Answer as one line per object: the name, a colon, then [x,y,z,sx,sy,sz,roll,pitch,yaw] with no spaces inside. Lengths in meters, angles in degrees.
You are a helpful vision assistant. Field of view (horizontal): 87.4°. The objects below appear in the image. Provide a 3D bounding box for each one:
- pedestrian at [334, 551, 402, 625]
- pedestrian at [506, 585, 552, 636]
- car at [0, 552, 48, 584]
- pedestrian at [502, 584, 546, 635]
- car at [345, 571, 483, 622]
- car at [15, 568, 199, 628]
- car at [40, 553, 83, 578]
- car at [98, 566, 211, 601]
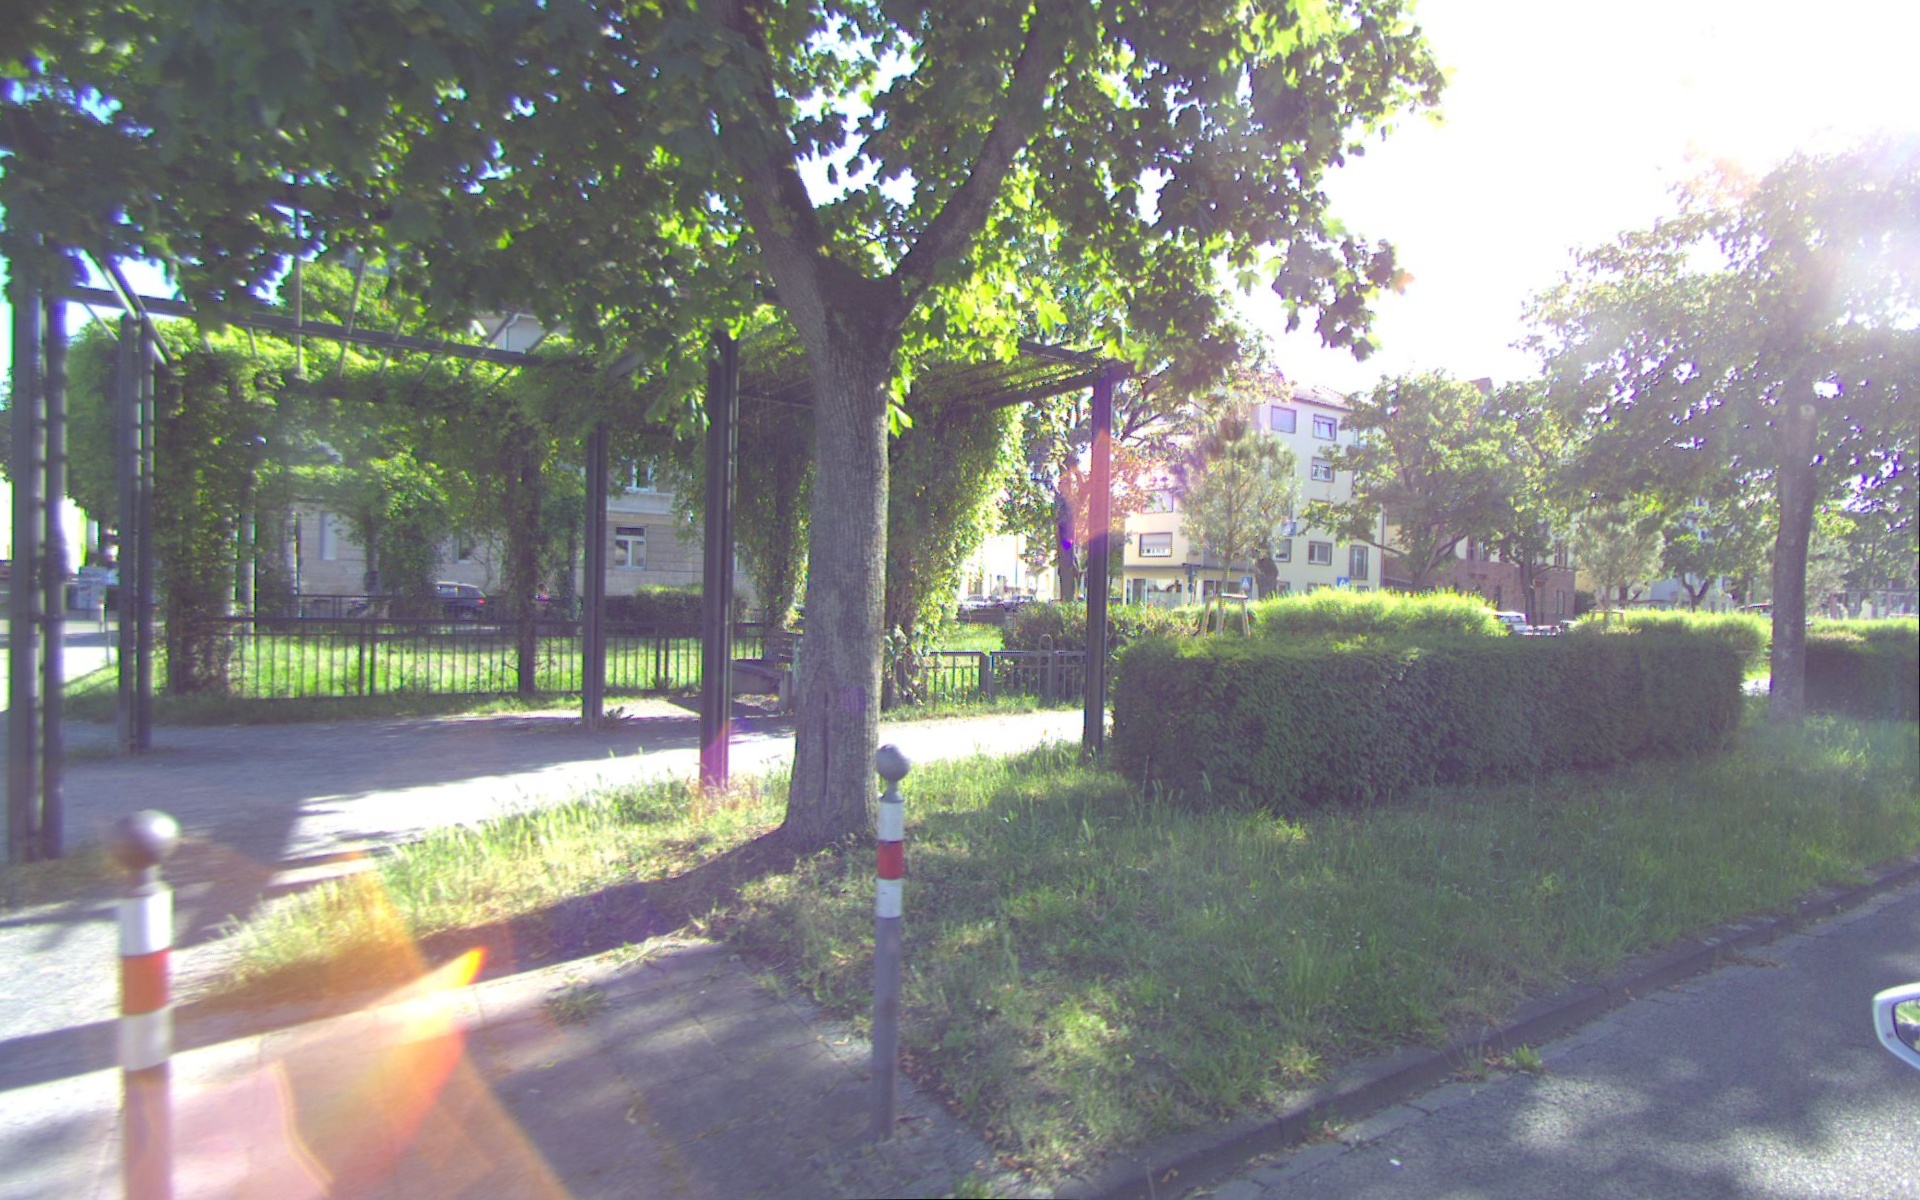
pedestrian: [-14.127,-0.307,23.979,0.899,1.697,1.086,2,4,37]
pedestrian: [-9.954,0.244,23.185,0.866,1.154,0.593,2,0,-33]
car: [-61.995,-2.093,66.301,1.867,1.896,4.360,5,-1,-33]
pedestrian: [-10.308,0.231,23.760,0.837,1.165,0.593,2,0,-33]
car: [-18.503,-0.099,34.095,3.869,1.503,1.848,2,4,-37]
car: [-24.781,-0.049,29.385,3.978,1.503,1.848,2,4,-37]
car: [-70.743,-2.686,79.114,1.866,1.896,4.360,2,0,-33]
car: [-35.080,-0.721,43.881,3.756,1.464,1.674,0,1,-37]
